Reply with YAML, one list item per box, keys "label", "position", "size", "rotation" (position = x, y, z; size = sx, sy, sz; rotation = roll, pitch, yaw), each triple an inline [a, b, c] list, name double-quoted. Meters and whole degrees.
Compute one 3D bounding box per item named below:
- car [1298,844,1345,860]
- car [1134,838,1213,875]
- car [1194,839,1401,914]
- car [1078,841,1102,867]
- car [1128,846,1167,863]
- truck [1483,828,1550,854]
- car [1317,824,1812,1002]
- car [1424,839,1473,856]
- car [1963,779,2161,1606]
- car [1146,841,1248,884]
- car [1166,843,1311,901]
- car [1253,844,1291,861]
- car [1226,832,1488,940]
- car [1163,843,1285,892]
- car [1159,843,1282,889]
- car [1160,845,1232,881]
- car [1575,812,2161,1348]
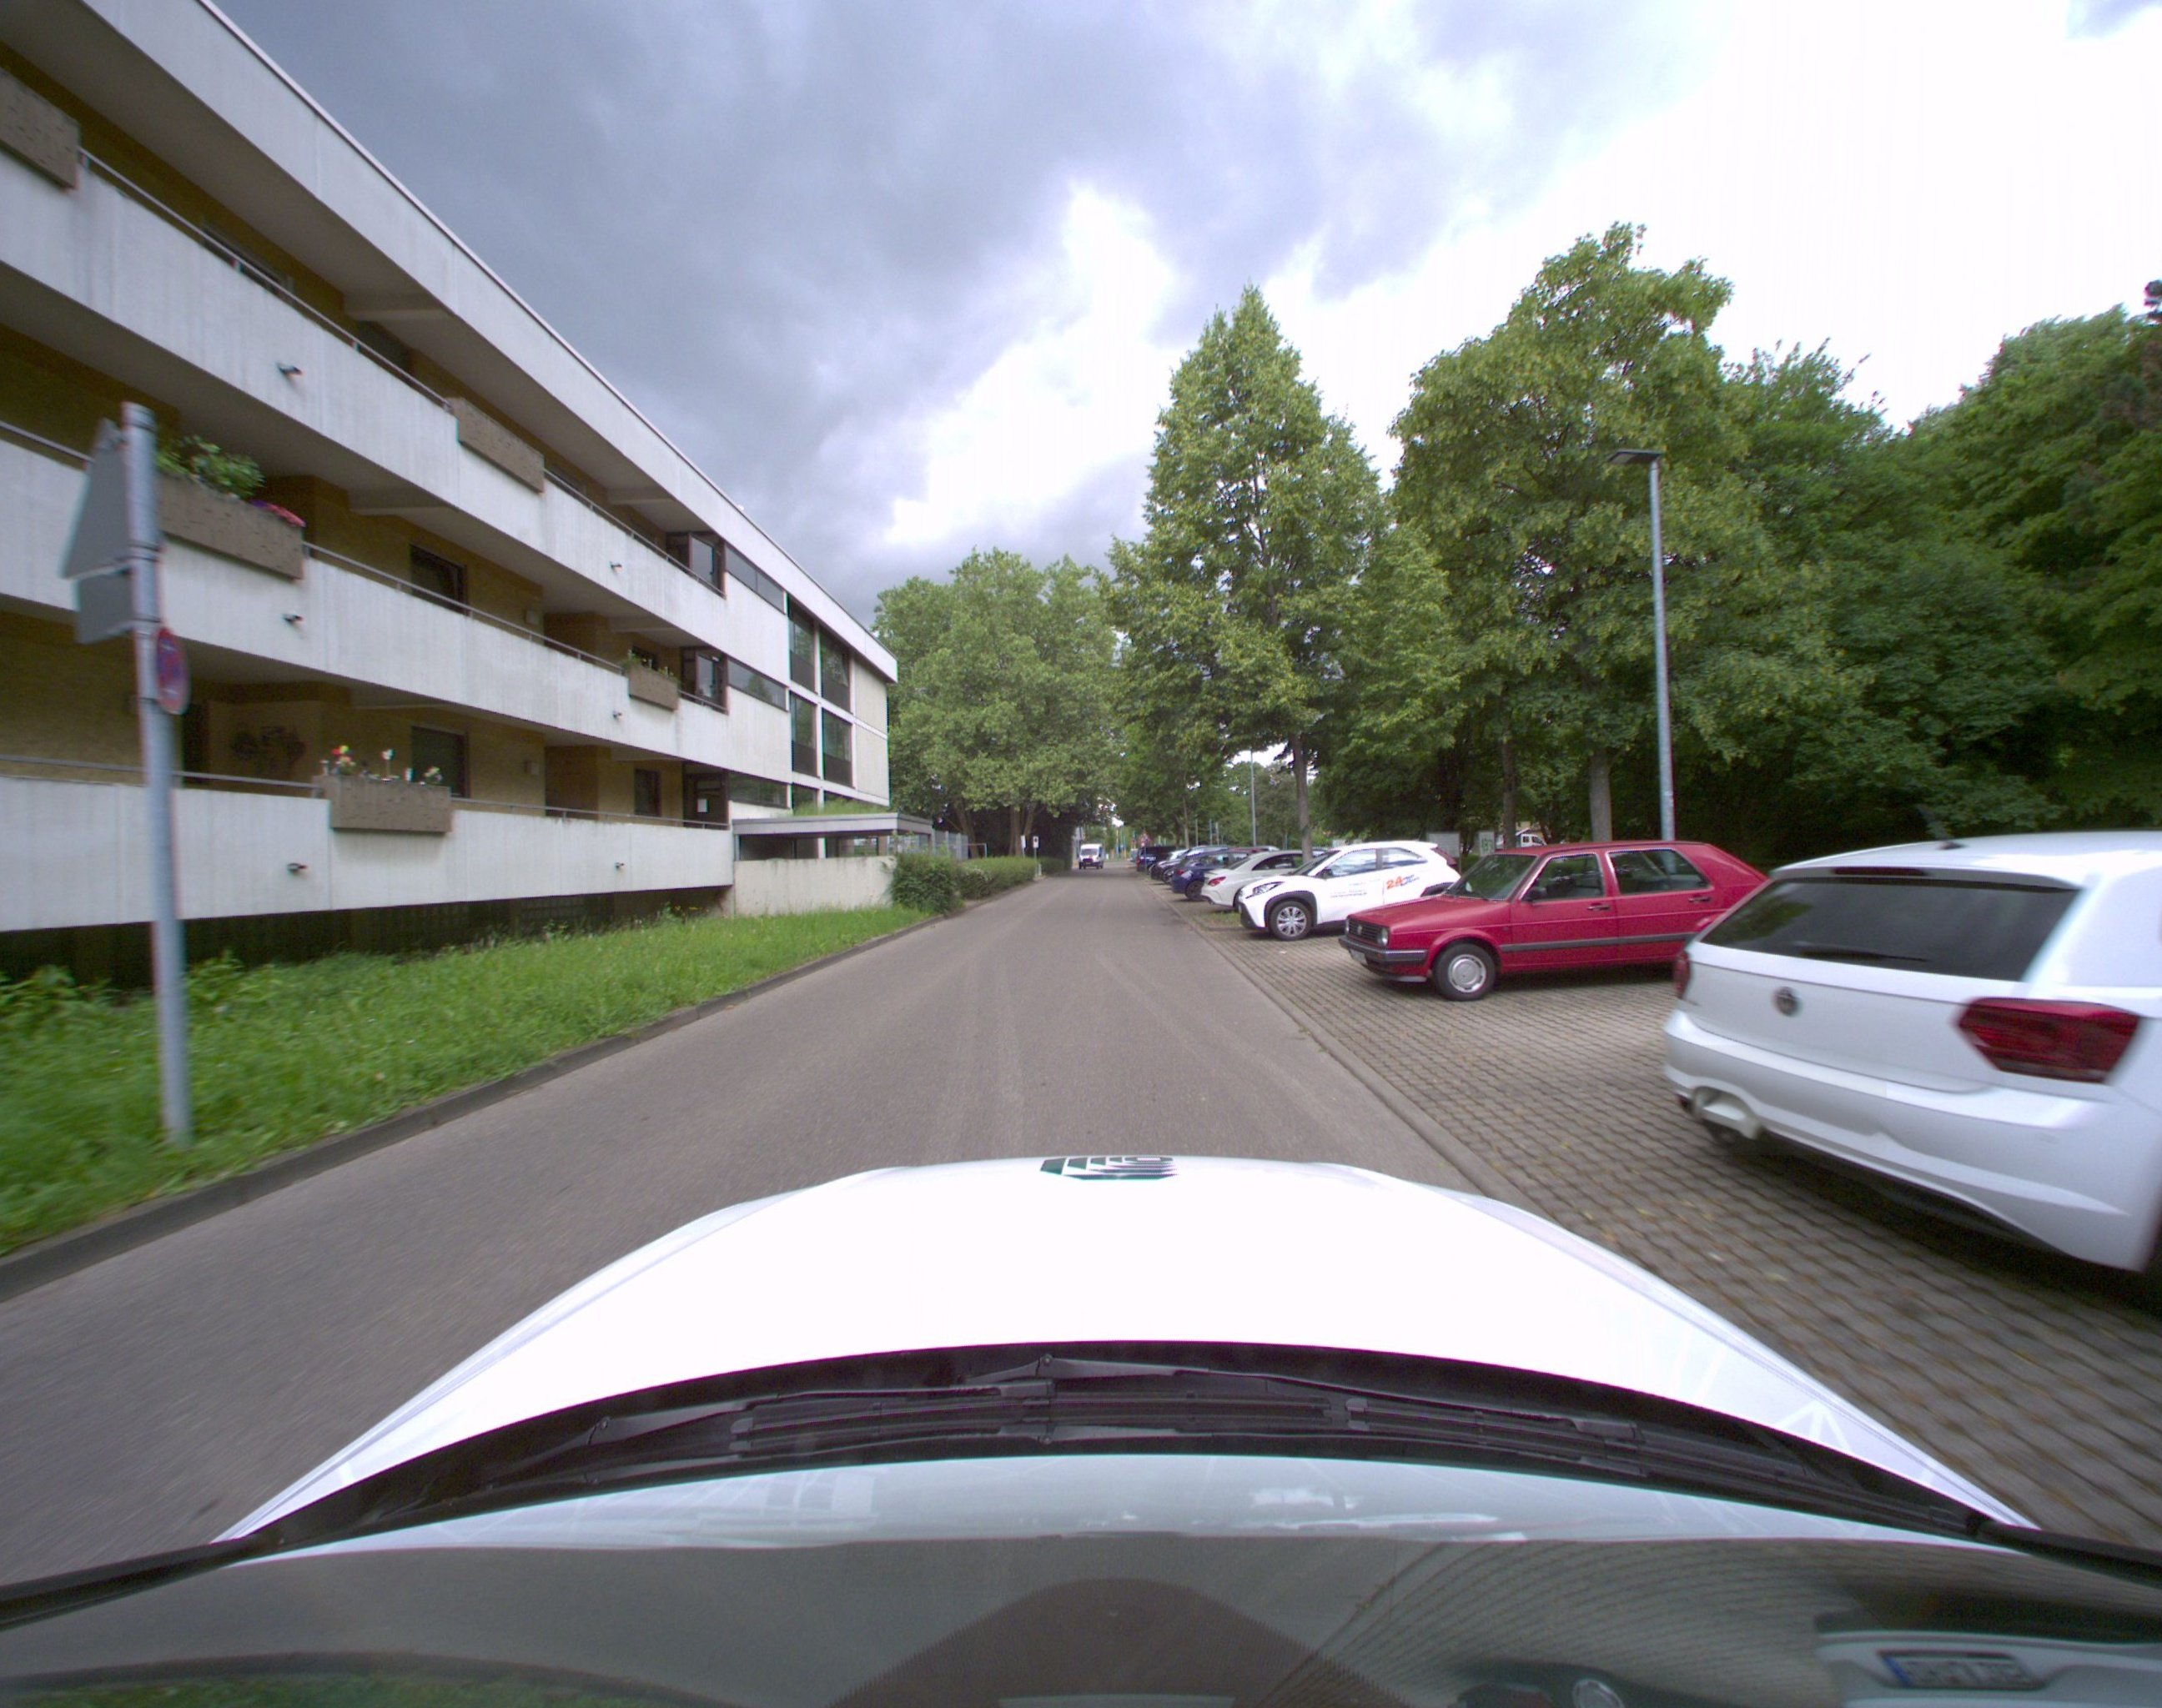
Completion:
- label: "car"
  position: [24.896, -0.207, 84.416]
  size: [4.368, 1.428, 1.707]
  rotation: [-2, -1, 7]
- label: "car"
  position: [5.971, 0.177, 53.268]
  size: [4.934, 2.013, 2.167]
  rotation: [-4, 0, 3]
- label: "car"
  position: [5.076, 0.514, 19.599]
  size: [4.468, 1.454, 1.847]
  rotation: [-3, 0, 2]
- label: "car"
  position: [0.937, -0.007, 81.412]
  size: [2.123, 2.476, 6.283]
  rotation: [0, 0, 4]
- label: "car"
  position: [8.641, 0.073, 106.655]
  size: [4.952, 1.972, 1.848]
  rotation: [-3, 0, 3]
- label: "truck"
  position: [43.785, -1.292, 81.911]
  size: [5.475, 2.426, 2.198]
  rotation: [-2, -1, 8]
- label: "car"
  position: [4.761, 0.553, 8.489]
  size: [4.040, 1.422, 1.817]
  rotation: [-3, 0, 0]
- label: "car"
  position: [37.292, -0.672, 82.718]
  size: [4.258, 1.526, 1.707]
  rotation: [-2, -1, 8]
- label: "car"
  position: [4.033, 0.515, 0.902]
  size: [4.101, 1.548, 1.860]
  rotation: [-3, 0, -1]
- label: "car"
  position: [5.325, 0.385, 37.869]
  size: [4.399, 1.676, 2.083]
  rotation: [-3, 0, 1]
- label: "car"
  position: [4.693, 0.533, 24.800]
  size: [4.056, 1.456, 1.852]
  rotation: [-3, 0, 2]
- label: "car"
  position: [19.933, -0.157, 85.148]
  size: [3.757, 1.668, 1.772]
  rotation: [-2, -1, 9]
- label: "car"
  position: [4.519, 0.516, 13.856]
  size: [3.822, 1.515, 1.883]
  rotation: [-3, 0, 4]
- label: "car"
  position: [5.184, 0.486, 29.900]
  size: [4.062, 1.517, 1.850]
  rotation: [-3, 0, -2]
- label: "car"
  position: [5.514, 0.450, 32.737]
  size: [4.616, 1.517, 1.984]
  rotation: [-3, 0, 3]
- label: "car"
  position: [5.678, 0.417, 40.516]
  size: [3.366, 1.574, 1.798]
  rotation: [-3, 0, 2]
- label: "car"
  position: [4.540, 0.551, 3.295]
  size: [4.000, 1.422, 1.790]
  rotation: [-3, 0, -4]
